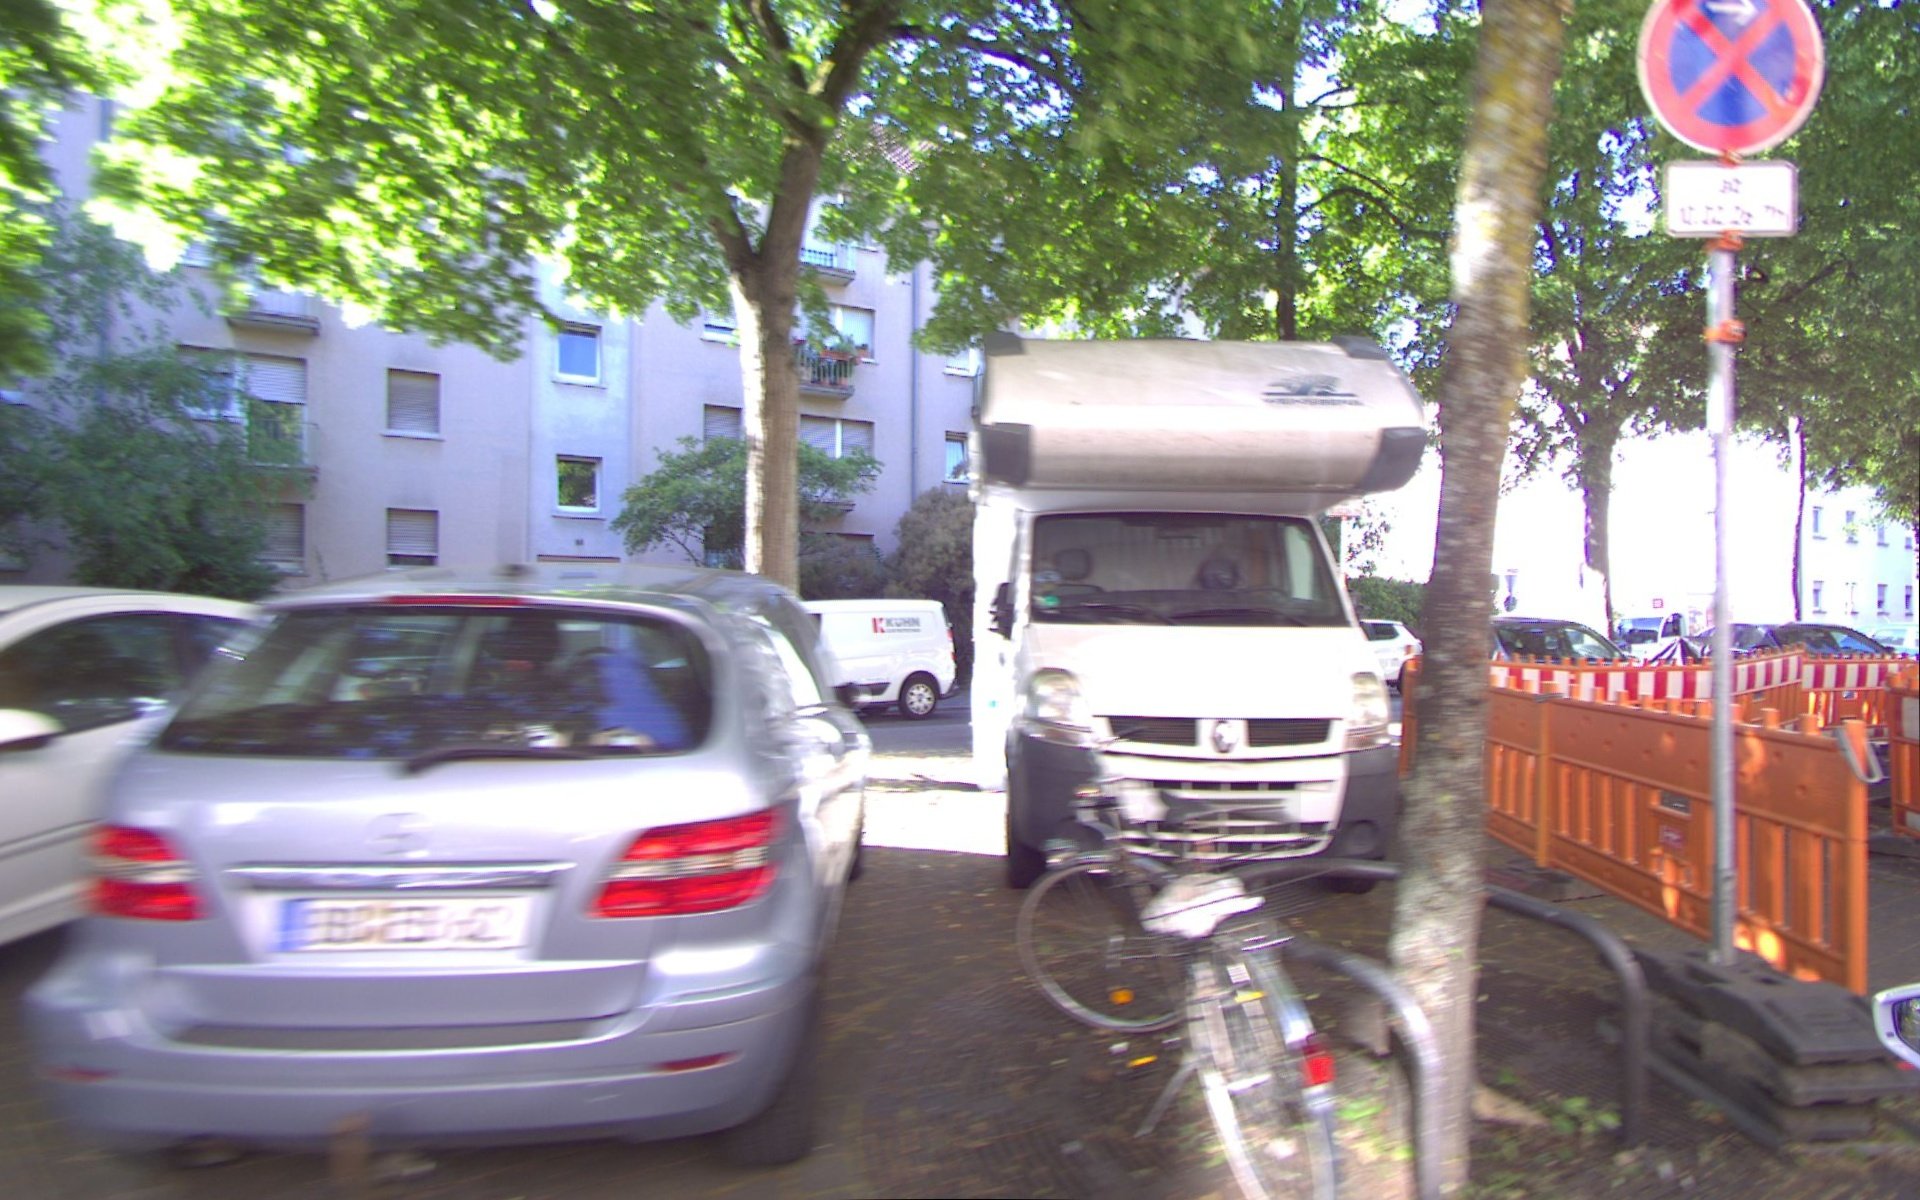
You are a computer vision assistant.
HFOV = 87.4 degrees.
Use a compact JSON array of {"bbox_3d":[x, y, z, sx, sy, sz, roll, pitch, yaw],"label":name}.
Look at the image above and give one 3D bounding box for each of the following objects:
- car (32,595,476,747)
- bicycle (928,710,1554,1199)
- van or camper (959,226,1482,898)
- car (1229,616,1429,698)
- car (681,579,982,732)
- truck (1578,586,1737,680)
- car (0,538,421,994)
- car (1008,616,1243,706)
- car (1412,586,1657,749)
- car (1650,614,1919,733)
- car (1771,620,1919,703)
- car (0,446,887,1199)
[{"bbox_3d":[-7.948,0.751,11.808,3.952,1.506,1.985,1,-1,-30],"label":"car"},{"bbox_3d":[0.503,0.935,2.942,0.494,0.991,2.372,1,-1,-19],"label":"bicycle"},{"bbox_3d":[1.190,-0.113,7.589,2.352,3.041,6.034,0,-1,0],"label":"van or camper"},{"bbox_3d":[7.759,1.149,21.054,4.063,1.580,1.712,1,-1,-29],"label":"car"},{"bbox_3d":[-1.887,0.765,15.197,4.218,2.040,1.612,1,0,-31],"label":"car"},{"bbox_3d":[19.458,0.910,28.015,4.209,2.441,1.915,1,-1,-27],"label":"truck"},{"bbox_3d":[-4.080,0.574,3.900,1.648,1.565,3.828,0,-1,5],"label":"car"},{"bbox_3d":[3.072,1.061,18.466,4.077,1.462,1.711,1,0,-29],"label":"car"},{"bbox_3d":[6.879,0.747,12.348,1.393,1.739,2.994,1,-1,3],"label":"car"},{"bbox_3d":[12.487,1.012,15.164,1.637,1.539,4.002,0,-1,5],"label":"car"},{"bbox_3d":[17.778,1.130,18.910,1.548,1.480,3.908,1,-1,-8],"label":"car"},{"bbox_3d":[-1.211,0.563,4.015,1.762,1.638,3.998,0,-1,-3],"label":"car"}]
